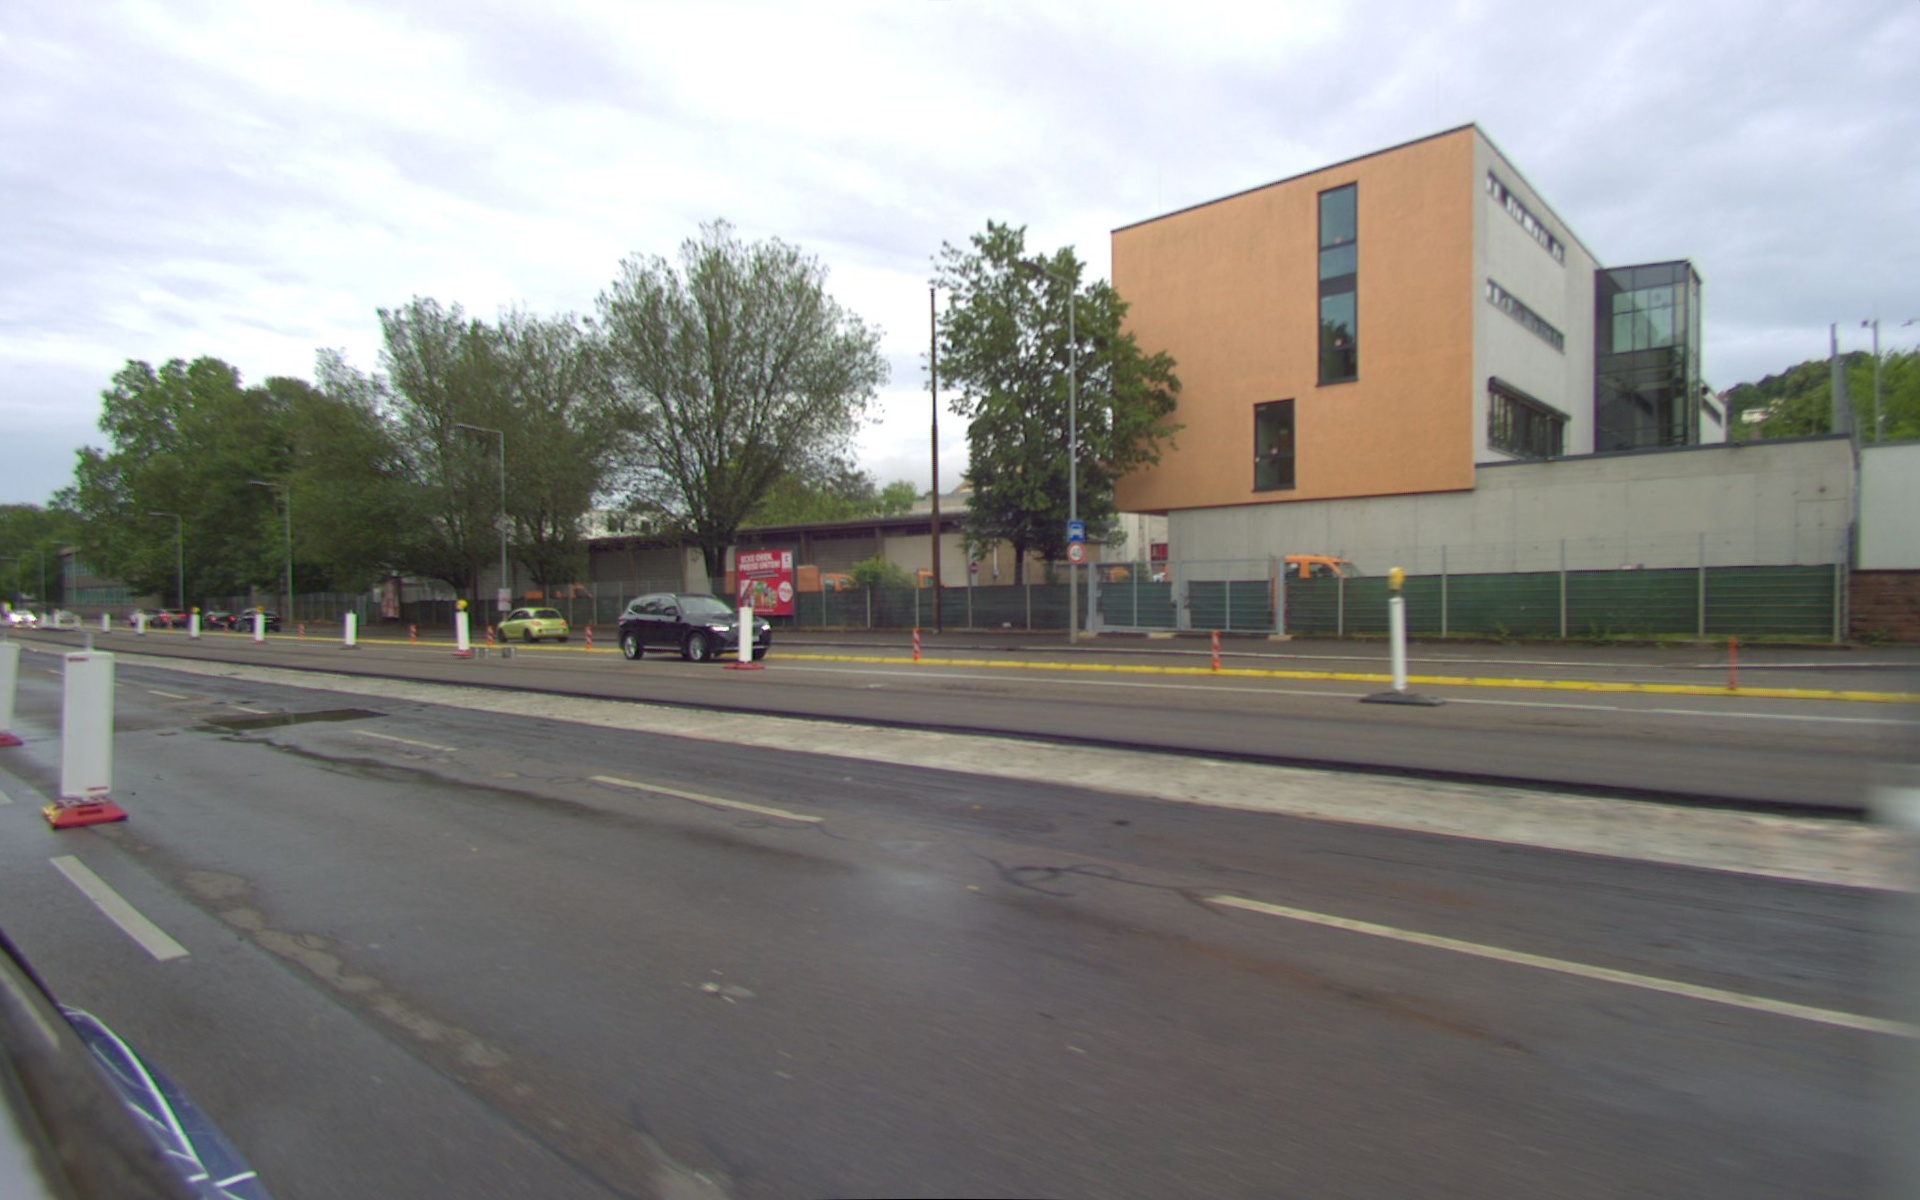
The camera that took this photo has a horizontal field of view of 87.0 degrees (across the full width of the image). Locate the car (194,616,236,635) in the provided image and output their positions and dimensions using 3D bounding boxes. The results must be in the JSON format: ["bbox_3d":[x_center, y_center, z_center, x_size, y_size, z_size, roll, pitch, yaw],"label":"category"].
[{"bbox_3d":[-56.997,1.943,77.439,3.730,1.487,1.839,-1,-2,42],"label":"car"}]

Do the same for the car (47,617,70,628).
[{"bbox_3d":[-111.743,2.782,125.410,4.454,1.325,1.649,-1,-2,42],"label":"car"}]

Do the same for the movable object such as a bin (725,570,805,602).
[{"bbox_3d":[-10.135,-0.733,52.871,3.961,1.539,1.756,-1,0,-6],"label":"movable object such as a bin"}]

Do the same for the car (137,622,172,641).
[{"bbox_3d":[-75.893,2.938,95.299,4.363,1.719,1.839,-1,-2,42],"label":"car"}]

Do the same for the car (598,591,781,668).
[{"bbox_3d":[-6.770,0.736,25.002,4.982,1.719,1.972,-2,-3,42],"label":"car"}]

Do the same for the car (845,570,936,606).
[{"bbox_3d":[-3.251,-0.532,46.769,3.958,1.539,2.005,-1,0,-11],"label":"car"}]

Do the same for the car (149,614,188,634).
[{"bbox_3d":[-67.055,2.016,85.709,4.363,1.631,1.839,-1,-2,42],"label":"car"}]

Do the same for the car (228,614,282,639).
[{"bbox_3d":[-48.419,1.806,69.508,4.323,1.642,1.841,-1,-2,38],"label":"car"}]

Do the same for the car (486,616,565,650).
[{"bbox_3d":[-18.272,1.373,42.504,3.802,1.378,1.537,-1,-1,41],"label":"car"}]

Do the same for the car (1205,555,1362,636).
[{"bbox_3d":[9.264,-0.093,29.137,3.997,2.187,1.594,-1,0,40],"label":"car"}]
